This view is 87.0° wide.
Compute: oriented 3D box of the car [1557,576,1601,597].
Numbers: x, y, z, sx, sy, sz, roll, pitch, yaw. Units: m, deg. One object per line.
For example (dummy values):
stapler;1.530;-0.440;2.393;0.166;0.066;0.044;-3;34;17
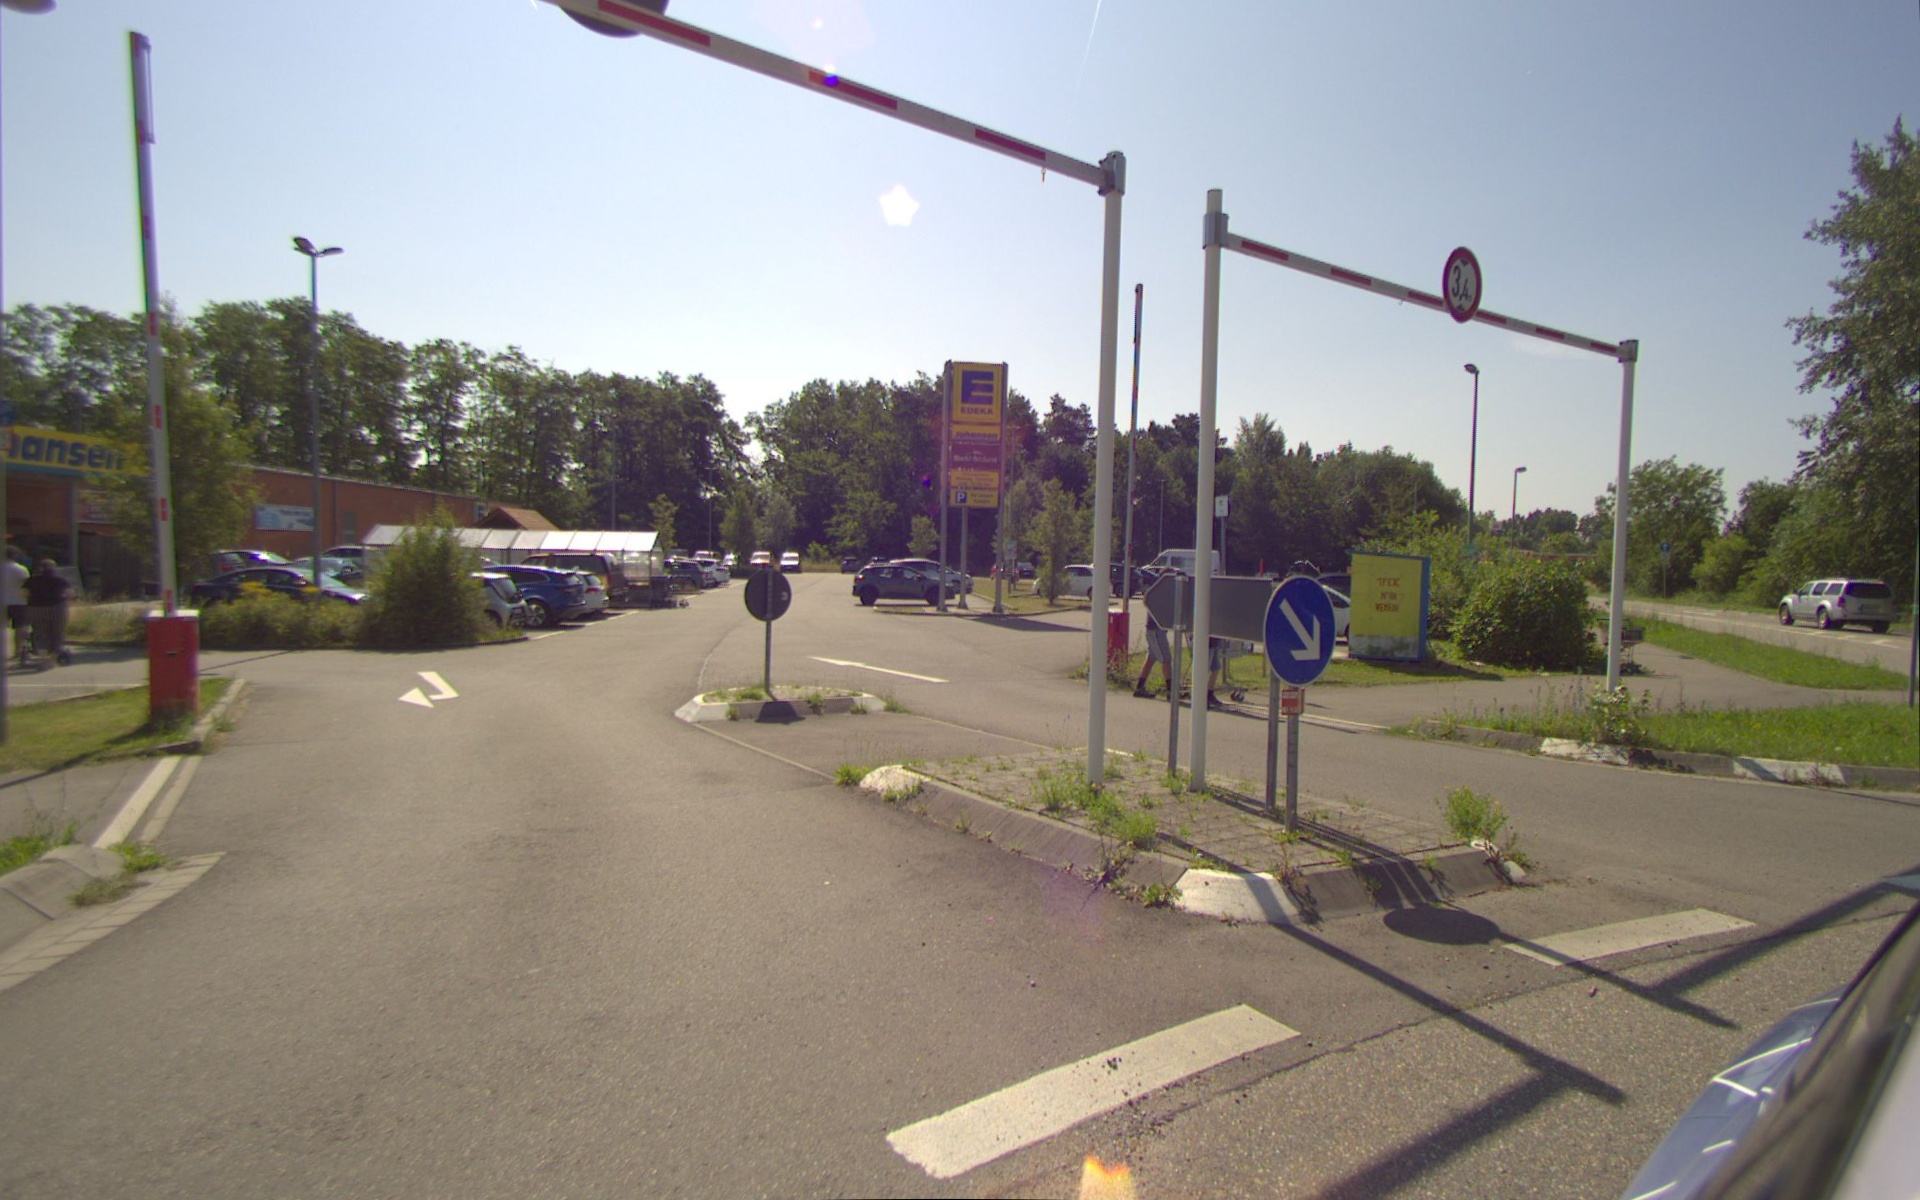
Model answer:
car;46.118;-1.028;75.534;1.815;1.404;4.397;3;2;19

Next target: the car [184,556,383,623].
car;-17.582;-0.297;26.456;3.921;1.642;1.915;1;2;-3

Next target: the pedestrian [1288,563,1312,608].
pedestrian;13.959;-0.601;41.536;0.812;1.819;0.860;2;2;22

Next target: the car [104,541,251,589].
car;-29.496;-1.314;38.262;3.918;1.704;2.004;1;2;-9

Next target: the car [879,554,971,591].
car;-1.774;-1.367;50.309;4.469;1.723;2.003;-1;2;-4

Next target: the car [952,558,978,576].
car;0.418;-3.015;92.407;2.030;1.504;4.005;1;2;-4

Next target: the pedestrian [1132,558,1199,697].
pedestrian;2.791;0.348;13.815;0.829;1.807;0.878;1;1;10

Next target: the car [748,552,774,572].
car;-17.604;-3.393;89.667;1.760;1.615;4.267;1;2;-6

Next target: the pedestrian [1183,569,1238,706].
pedestrian;3.146;0.448;12.771;0.587;1.668;0.702;1;1;10

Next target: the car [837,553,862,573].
car;-9.950;-3.340;91.177;2.030;1.732;4.005;1;2;-4

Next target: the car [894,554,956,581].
car;-2.273;-2.145;66.522;3.924;1.604;1.971;1;2;0

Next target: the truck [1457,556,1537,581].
truck;82.072;-4.898;155.015;10.212;3.435;3.861;3;2;20

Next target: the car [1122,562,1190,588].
car;11.929;-1.545;61.606;3.914;1.471;1.898;2;2;12

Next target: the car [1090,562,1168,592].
car;9.044;-1.249;54.024;3.943;1.445;1.741;2;2;15

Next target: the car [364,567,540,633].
car;-12.236;-0.020;24.505;3.428;1.476;1.715;1;2;3

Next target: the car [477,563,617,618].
car;-12.132;-0.298;29.852;3.428;1.516;1.715;1;2;3

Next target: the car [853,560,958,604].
car;-2.105;-0.716;39.036;3.921;1.608;1.663;1;2;-4

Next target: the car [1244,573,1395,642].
car;9.438;0.149;26.584;3.566;1.581;1.800;3;2;23

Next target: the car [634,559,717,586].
car;-15.282;-1.491;54.472;3.925;1.370;2.000;1;2;1

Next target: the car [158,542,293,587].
car;-29.353;-1.414;40.547;3.918;1.704;2.004;1;2;-9

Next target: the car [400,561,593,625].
car;-12.240;-0.210;26.882;4.343;1.591;1.717;1;2;0

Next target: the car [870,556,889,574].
car;-7.254;-3.210;91.424;1.629;1.504;4.379;1;2;-4

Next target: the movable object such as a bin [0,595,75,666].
movable object such as a bin;-14.826;0.469;16.243;1.035;1.059;0.758;2;2;37

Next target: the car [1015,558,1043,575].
car;6.279;-3.058;92.449;2.030;1.504;4.005;1;2;-4

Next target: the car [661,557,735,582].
car;-15.656;-1.818;60.602;3.924;1.415;1.892;1;2;0

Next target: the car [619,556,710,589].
car;-14.247;-1.321;48.976;3.919;1.504;1.971;1;2;-6

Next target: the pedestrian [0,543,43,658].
pedestrian;-16.079;-0.006;16.969;0.766;1.894;0.833;2;1;26

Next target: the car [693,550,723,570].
car;-22.375;-3.574;90.067;1.904;1.732;4.005;1;2;-4

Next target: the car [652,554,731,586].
car;-15.072;-1.690;56.915;3.925;1.682;2.000;1;2;1

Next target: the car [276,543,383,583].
car;-30.459;-1.796;48.995;3.918;1.838;2.004;1;2;-9

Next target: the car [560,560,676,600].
car;-13.227;-0.786;39.347;3.920;1.437;1.985;1;2;-5

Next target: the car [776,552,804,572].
car;-15.152;-3.377;90.294;2.030;1.732;4.005;1;2;-4

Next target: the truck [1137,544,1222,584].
truck;15.536;-2.571;71.558;5.551;2.637;2.188;3;2;21

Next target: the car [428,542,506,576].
car;-30.751;-2.565;63.248;3.921;2.038;2.002;1;2;-4

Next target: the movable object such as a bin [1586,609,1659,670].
movable object such as a bin;13.542;0.791;20.676;1.430;1.134;0.870;-1;2;-40

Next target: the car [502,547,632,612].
car;-12.504;-0.660;32.353;3.428;1.953;1.878;1;1;3

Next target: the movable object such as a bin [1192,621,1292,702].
movable object such as a bin;3.778;0.809;13.652;1.184;0.967;0.878;1;2;10

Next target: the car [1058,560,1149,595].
car;6.983;-1.106;49.166;4.114;1.593;1.988;2;2;20

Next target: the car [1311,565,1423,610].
car;16.313;-0.522;40.729;4.083;1.647;1.740;2;2;22

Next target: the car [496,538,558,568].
car;-33.531;-3.638;78.393;3.946;2.274;2.001;1;1;-1

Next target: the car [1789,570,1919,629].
car;31.486;-0.087;35.727;1.875;1.838;4.569;2;2;19

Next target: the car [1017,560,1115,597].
car;4.645;-0.963;44.309;3.953;1.460;1.639;2;2;22

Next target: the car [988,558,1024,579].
car;3.534;-2.476;78.491;1.959;1.483;4.503;1;3;-8

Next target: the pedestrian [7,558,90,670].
pedestrian;-14.050;0.191;15.605;0.921;1.639;0.804;2;2;37
